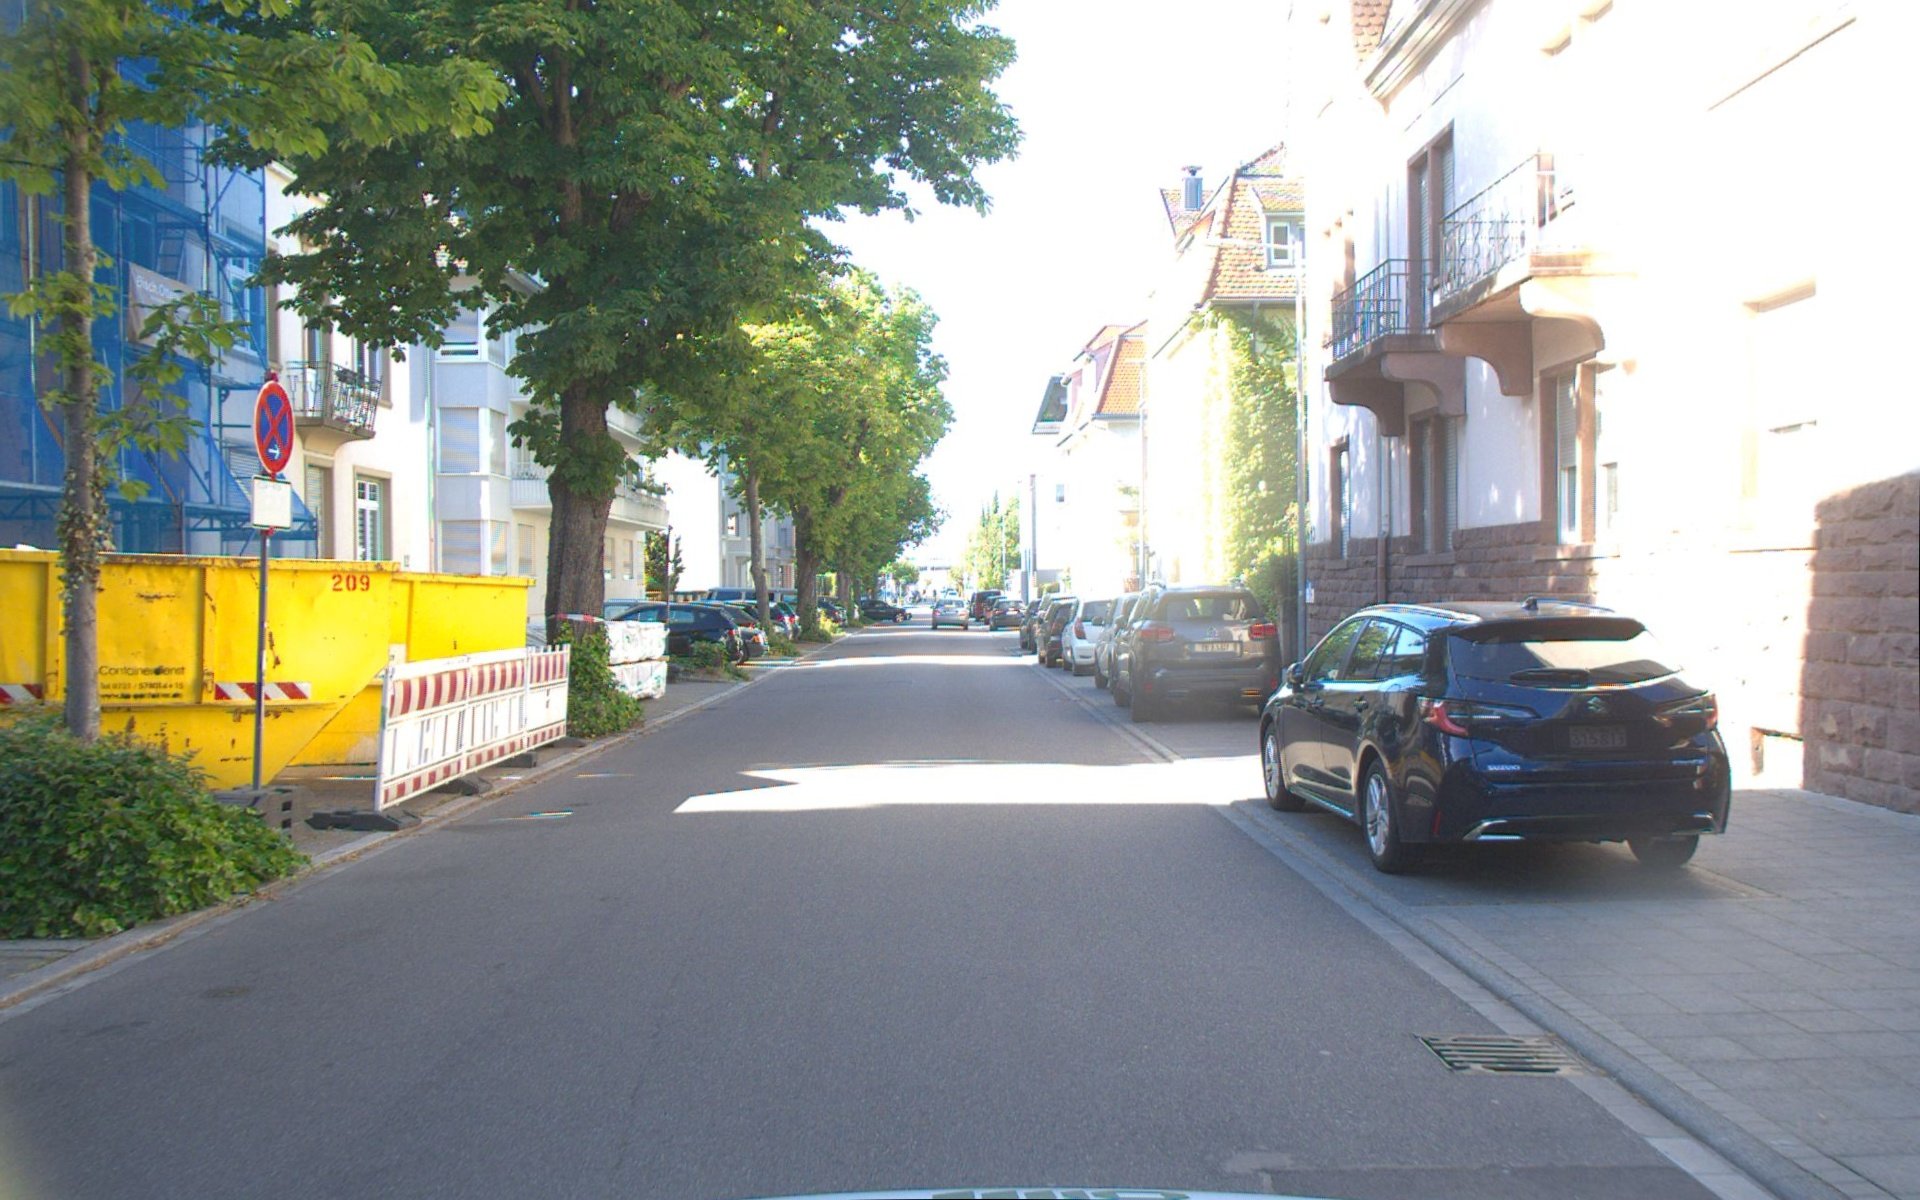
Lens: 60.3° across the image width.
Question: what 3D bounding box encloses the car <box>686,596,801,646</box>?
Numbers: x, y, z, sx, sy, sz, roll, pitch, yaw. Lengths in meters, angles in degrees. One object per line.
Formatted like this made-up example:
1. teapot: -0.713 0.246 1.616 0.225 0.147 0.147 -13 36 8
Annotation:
1. car: -6.868 0.659 52.709 3.407 1.483 1.797 1 0 0

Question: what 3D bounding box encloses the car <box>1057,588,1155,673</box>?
1. car: 2.882 0.609 33.239 1.543 1.576 3.467 -2 -1 -1

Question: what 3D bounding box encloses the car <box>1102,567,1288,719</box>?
1. car: 2.921 0.539 21.416 1.741 1.726 4.319 1 -1 0

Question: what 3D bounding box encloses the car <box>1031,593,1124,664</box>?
1. car: 2.619 0.643 37.551 1.675 1.461 4.191 -3 -1 -1

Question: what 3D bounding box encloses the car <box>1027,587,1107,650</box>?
1. car: 2.822 0.502 44.467 1.755 1.547 4.365 -2 -1 -1

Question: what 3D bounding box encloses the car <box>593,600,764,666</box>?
1. car: -7.221 0.836 42.736 4.104 1.466 1.712 -3 0 -2

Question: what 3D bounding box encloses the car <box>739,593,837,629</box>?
1. car: -7.491 0.469 72.283 4.102 1.525 1.860 -1 0 -2

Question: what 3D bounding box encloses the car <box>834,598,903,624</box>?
1. car: -5.671 0.674 102.614 4.102 1.473 1.712 1 -1 1

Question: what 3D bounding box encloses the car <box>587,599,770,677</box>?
1. car: -6.104 0.808 36.039 3.800 1.540 1.829 -2 0 -10

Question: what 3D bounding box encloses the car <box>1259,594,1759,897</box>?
1. car: 3.091 0.706 10.340 1.610 1.479 4.502 0 0 0

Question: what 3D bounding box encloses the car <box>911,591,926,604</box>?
1. car: -5.986 -0.357 237.518 1.754 1.558 3.994 -5 0 -7

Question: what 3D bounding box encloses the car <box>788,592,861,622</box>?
1. car: -7.569 0.381 92.569 3.941 1.510 1.806 2 0 -2

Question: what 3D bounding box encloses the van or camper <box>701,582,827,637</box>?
1. van or camper: -7.142 0.336 60.709 4.405 1.948 1.964 0 0 -1

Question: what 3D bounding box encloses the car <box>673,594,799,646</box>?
1. car: -6.782 0.606 50.314 3.568 1.488 1.710 1 0 1

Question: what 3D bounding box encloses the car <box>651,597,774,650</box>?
1. car: -7.116 0.670 47.802 3.411 1.445 1.708 1 -1 -6

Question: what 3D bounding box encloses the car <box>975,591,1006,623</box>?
1. car: 1.925 0.461 104.914 1.833 1.938 5.197 -2 -1 0

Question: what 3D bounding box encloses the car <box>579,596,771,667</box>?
1. car: -6.887 0.733 40.159 4.505 1.635 1.829 0 0 -10

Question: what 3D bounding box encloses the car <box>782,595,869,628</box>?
1. car: -6.284 0.521 77.538 3.906 1.494 1.696 -1 0 -2

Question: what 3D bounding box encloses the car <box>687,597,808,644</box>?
1. car: -7.044 0.665 55.196 3.843 1.439 1.714 1 1 -3

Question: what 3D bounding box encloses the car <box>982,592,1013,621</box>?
1. car: 2.085 0.335 92.345 1.560 1.506 3.246 -3 0 -1

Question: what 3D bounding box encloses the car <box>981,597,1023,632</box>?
1. car: 1.876 0.647 75.441 1.587 1.465 3.933 -3 0 -2

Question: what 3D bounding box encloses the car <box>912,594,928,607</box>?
1. car: -5.550 0.092 228.430 1.836 1.758 3.996 -1 0 -5

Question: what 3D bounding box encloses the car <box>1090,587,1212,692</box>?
1. car: 3.030 0.624 26.679 1.592 1.576 2.868 0 -1 -1

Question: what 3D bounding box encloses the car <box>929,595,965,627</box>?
1. car: -0.602 0.499 78.968 1.691 1.445 3.960 0 0 0

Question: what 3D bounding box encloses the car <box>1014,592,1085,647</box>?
1. car: 2.652 0.591 49.841 1.629 1.547 3.998 -2 -1 -4
